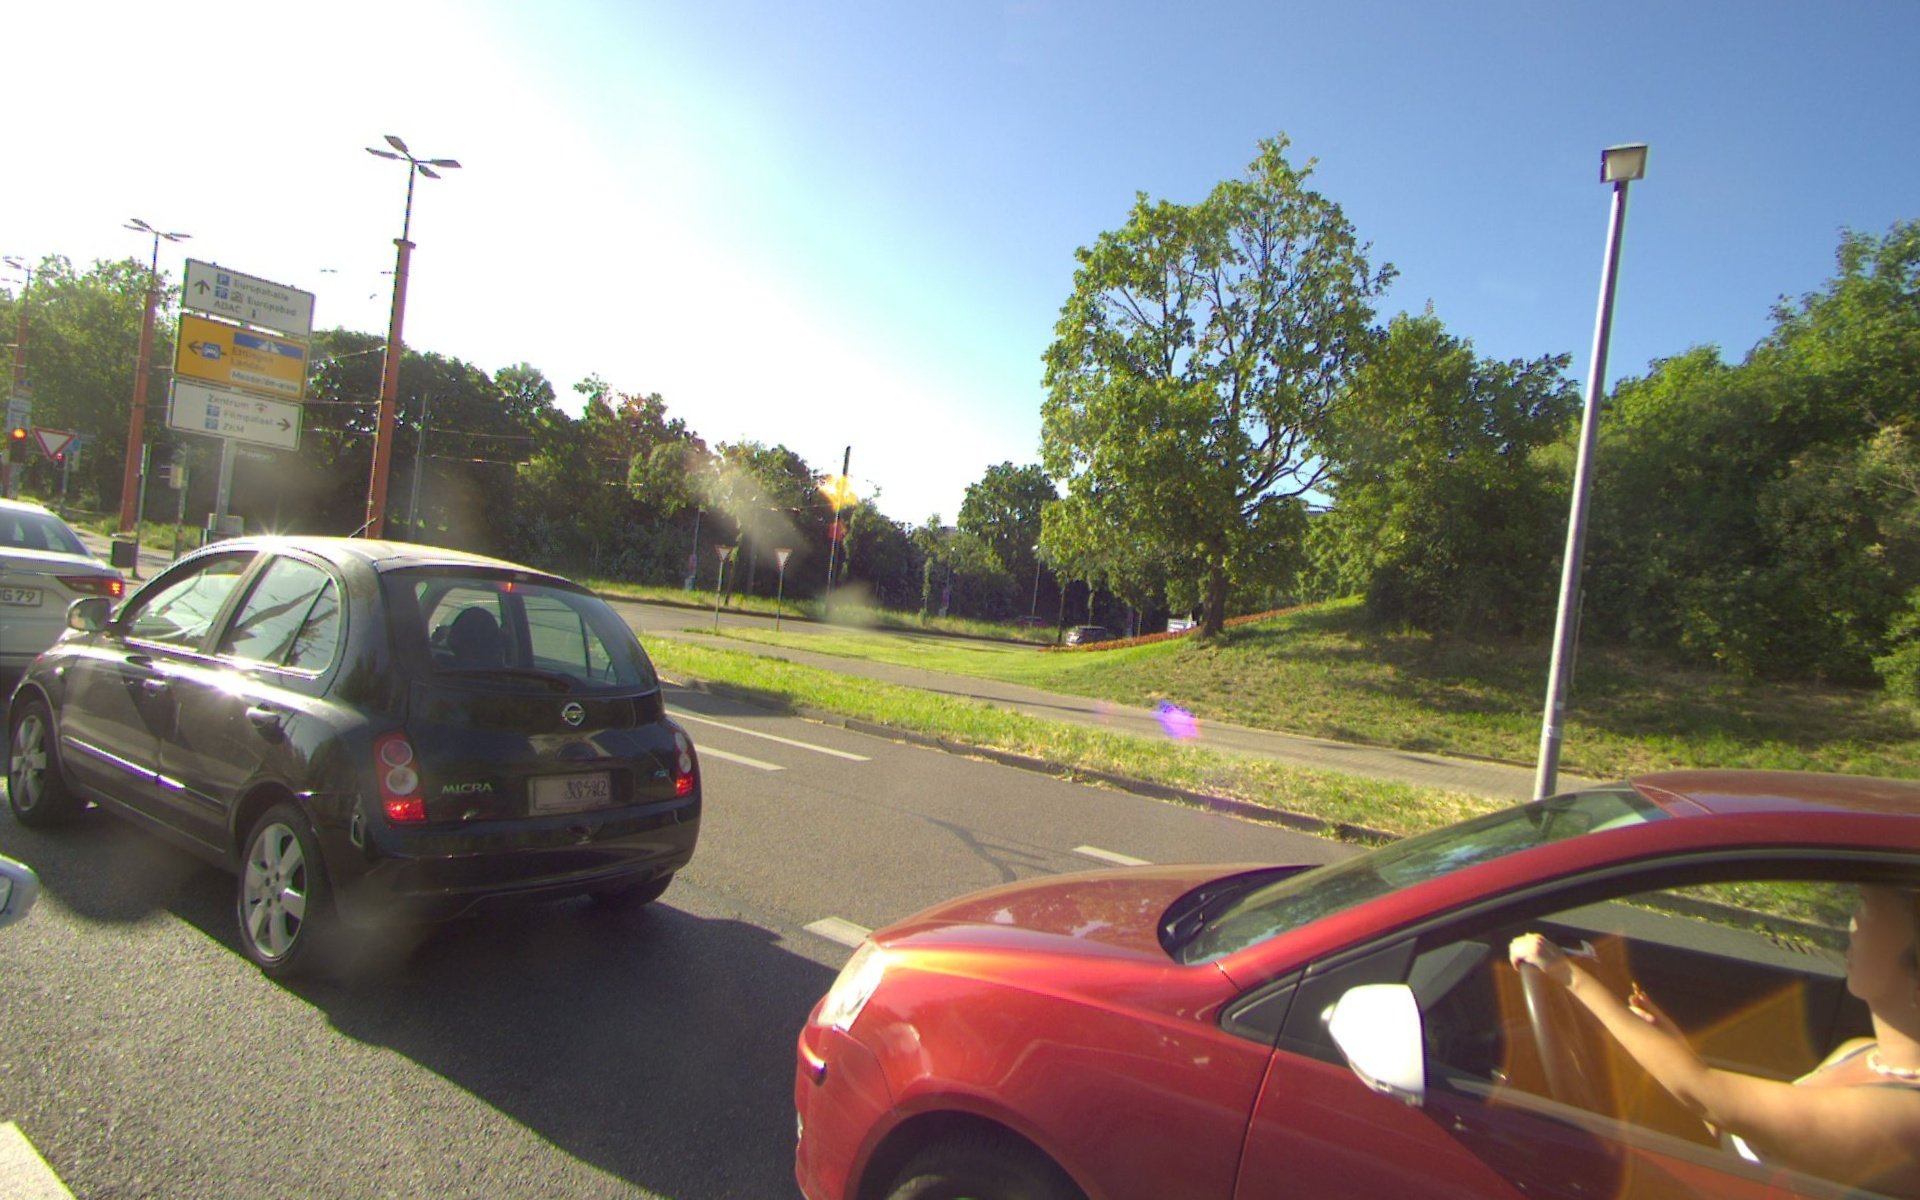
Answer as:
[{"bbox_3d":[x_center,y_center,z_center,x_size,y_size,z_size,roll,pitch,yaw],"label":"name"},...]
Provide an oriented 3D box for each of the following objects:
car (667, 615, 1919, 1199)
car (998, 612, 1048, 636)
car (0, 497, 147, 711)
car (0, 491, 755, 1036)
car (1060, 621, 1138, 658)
[{"bbox_3d":[1.354,0.988,1.902,3.634,1.434,1.624,7,-1,34],"label":"car"},{"bbox_3d":[5.040,1.912,80.169,3.577,1.383,1.689,8,-1,-32],"label":"car"},{"bbox_3d":[-8.364,-0.166,7.986,4.077,1.472,1.717,7,-1,33],"label":"car"},{"bbox_3d":[-2.838,0.462,4.633,3.457,1.524,1.558,7,0,32],"label":"car"},{"bbox_3d":[7.458,2.105,53.974,3.854,1.486,1.736,8,-1,-33],"label":"car"}]
